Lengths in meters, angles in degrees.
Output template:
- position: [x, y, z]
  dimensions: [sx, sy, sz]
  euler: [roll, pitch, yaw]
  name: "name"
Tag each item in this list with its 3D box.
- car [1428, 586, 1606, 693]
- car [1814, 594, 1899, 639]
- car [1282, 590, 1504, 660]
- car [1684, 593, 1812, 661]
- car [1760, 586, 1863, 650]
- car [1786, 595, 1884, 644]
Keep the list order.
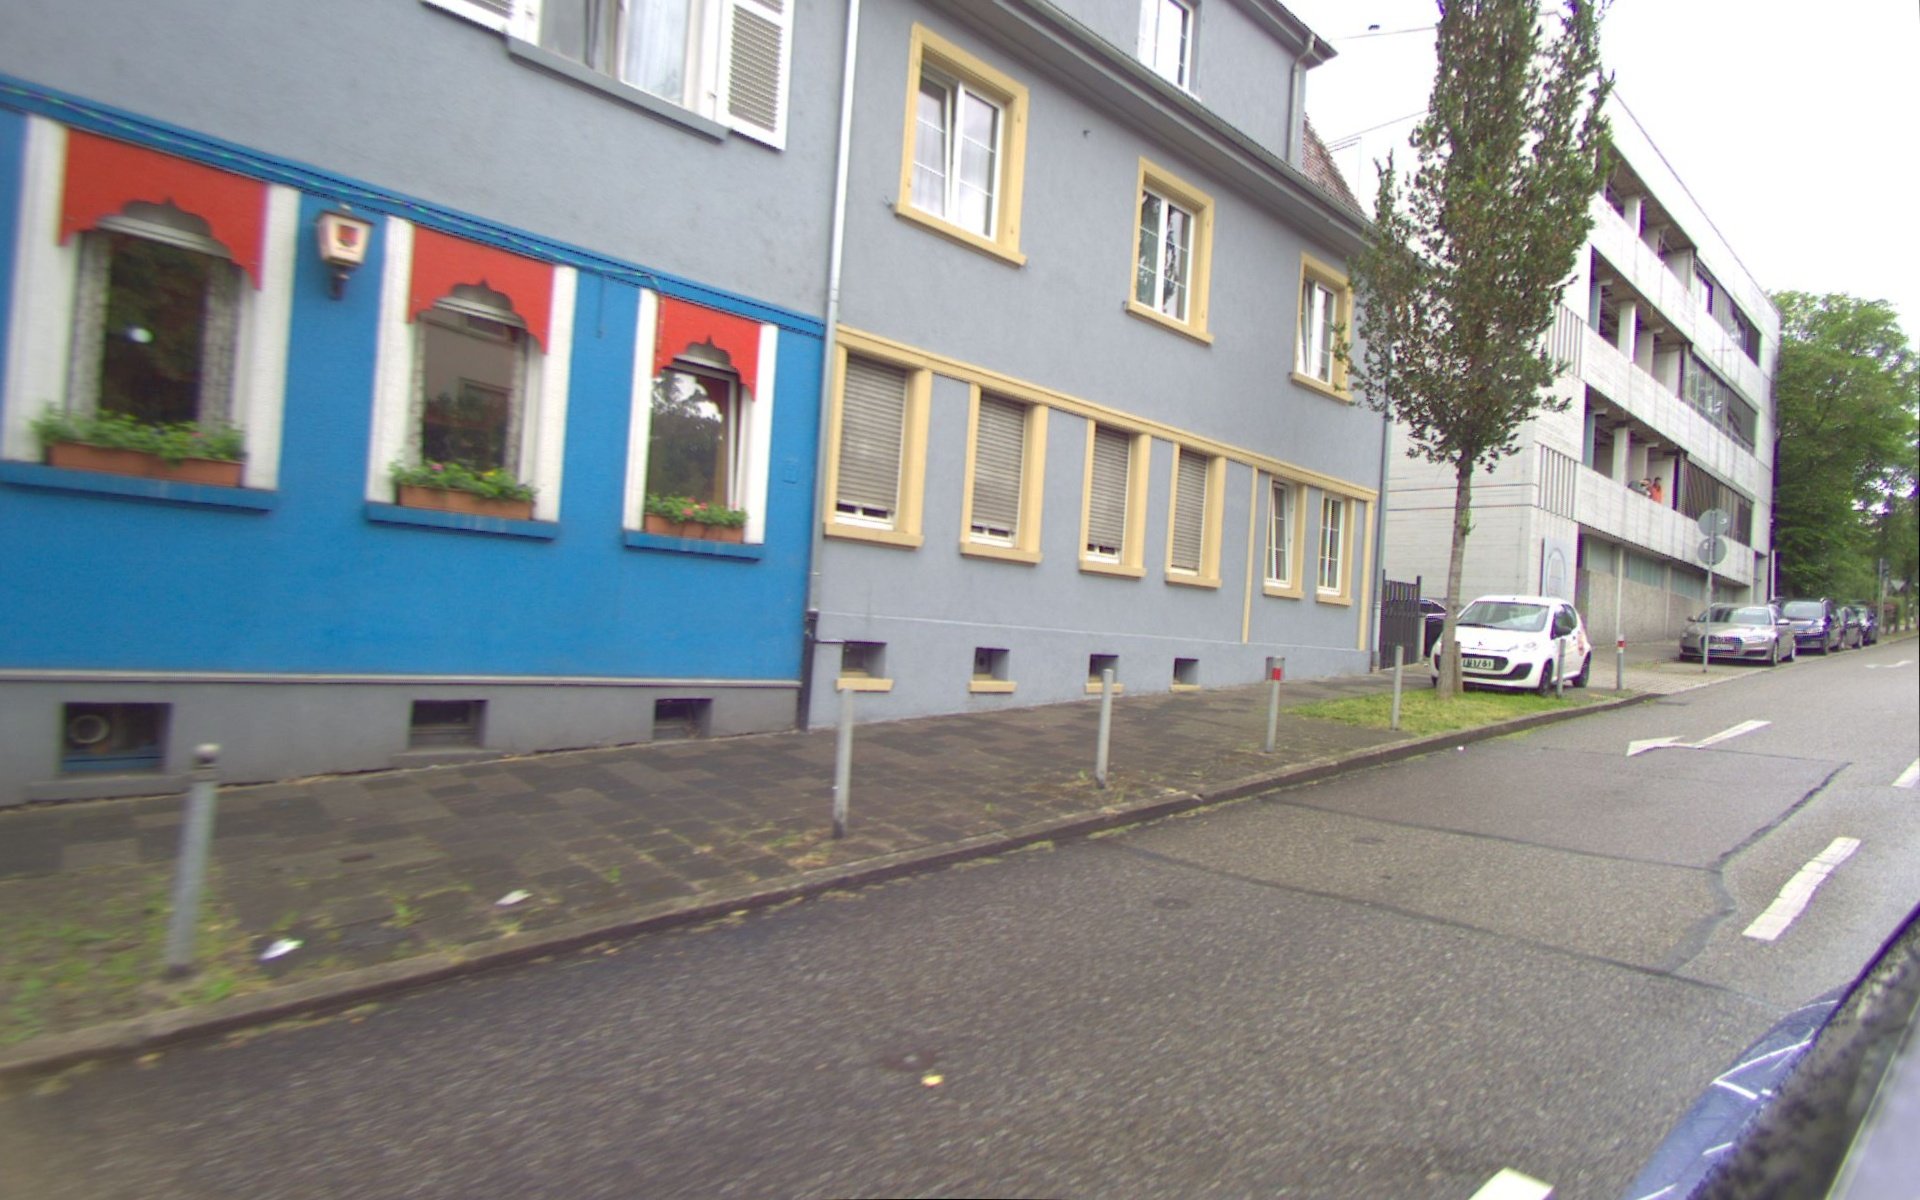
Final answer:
- position: [8.889, 0.558, 16.042]
  dimensions: [1.587, 1.429, 3.401]
  euler: [4, 2, 44]
  name: "car"
- position: [32.991, 0.575, 37.209]
  dimensions: [4.085, 1.461, 1.842]
  euler: [0, 4, -43]
  name: "car"
- position: [9.623, 0.498, 22.614]
  dimensions: [4.336, 1.425, 1.787]
  euler: [0, 1, 34]
  name: "car"
- position: [19.621, 0.604, 25.114]
  dimensions: [4.663, 1.477, 1.816]
  euler: [0, 2, -44]
  name: "car"
- position: [25.386, 0.494, 30.132]
  dimensions: [4.270, 1.695, 1.747]
  euler: [0, 2, -42]
  name: "car"
- position: [28.975, 0.605, 33.475]
  dimensions: [4.023, 1.462, 1.711]
  euler: [0, 2, -39]
  name: "car"
